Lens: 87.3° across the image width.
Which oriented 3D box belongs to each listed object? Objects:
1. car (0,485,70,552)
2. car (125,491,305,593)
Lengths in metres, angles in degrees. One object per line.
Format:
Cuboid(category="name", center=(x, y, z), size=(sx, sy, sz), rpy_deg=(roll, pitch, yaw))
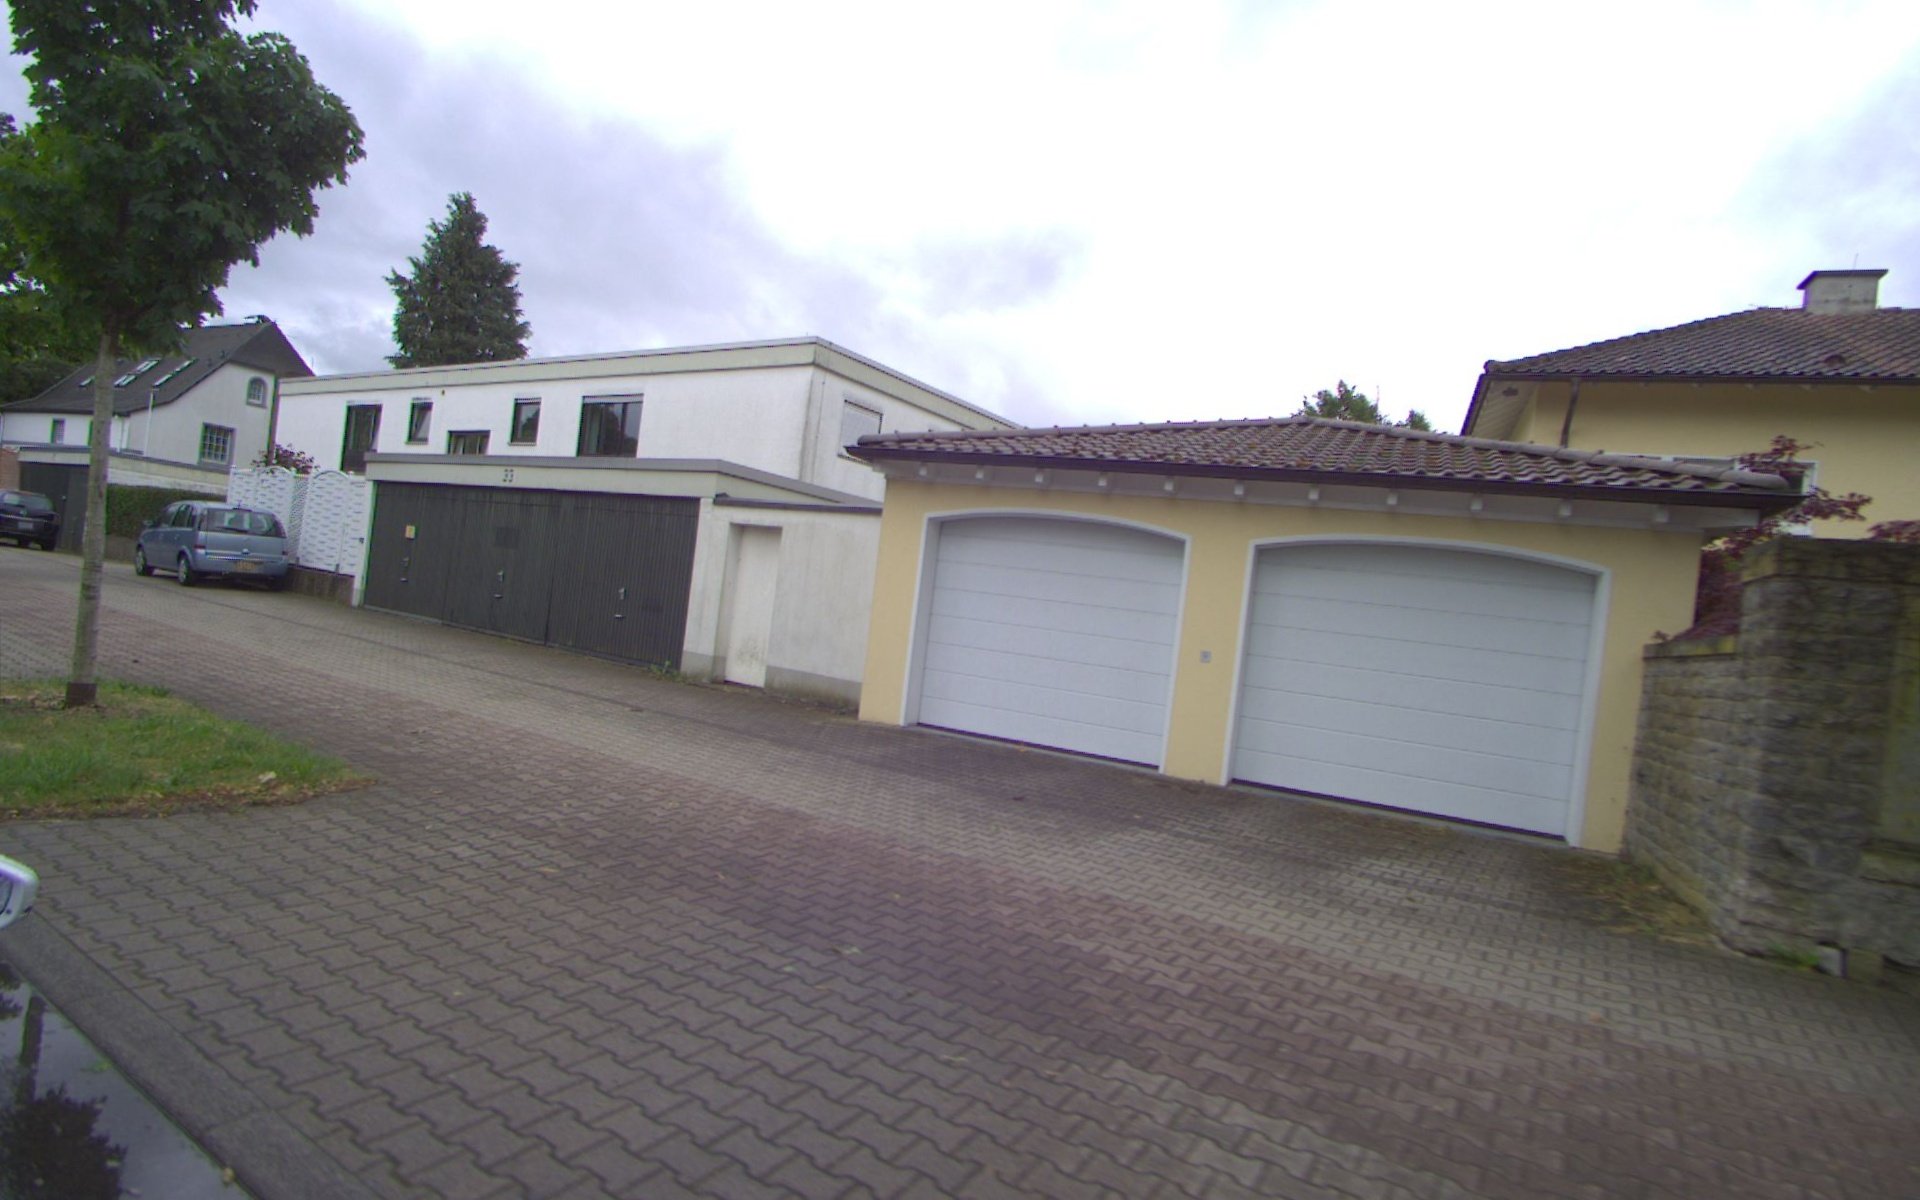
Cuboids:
Cuboid(category="car", center=(-25.538, -2.280, 26.797), size=(4.474, 1.516, 1.771), rpy_deg=(7, 0, 37))
Cuboid(category="car", center=(-15.033, -1.190, 20.251), size=(3.939, 1.630, 1.744), rpy_deg=(7, 0, 37))
